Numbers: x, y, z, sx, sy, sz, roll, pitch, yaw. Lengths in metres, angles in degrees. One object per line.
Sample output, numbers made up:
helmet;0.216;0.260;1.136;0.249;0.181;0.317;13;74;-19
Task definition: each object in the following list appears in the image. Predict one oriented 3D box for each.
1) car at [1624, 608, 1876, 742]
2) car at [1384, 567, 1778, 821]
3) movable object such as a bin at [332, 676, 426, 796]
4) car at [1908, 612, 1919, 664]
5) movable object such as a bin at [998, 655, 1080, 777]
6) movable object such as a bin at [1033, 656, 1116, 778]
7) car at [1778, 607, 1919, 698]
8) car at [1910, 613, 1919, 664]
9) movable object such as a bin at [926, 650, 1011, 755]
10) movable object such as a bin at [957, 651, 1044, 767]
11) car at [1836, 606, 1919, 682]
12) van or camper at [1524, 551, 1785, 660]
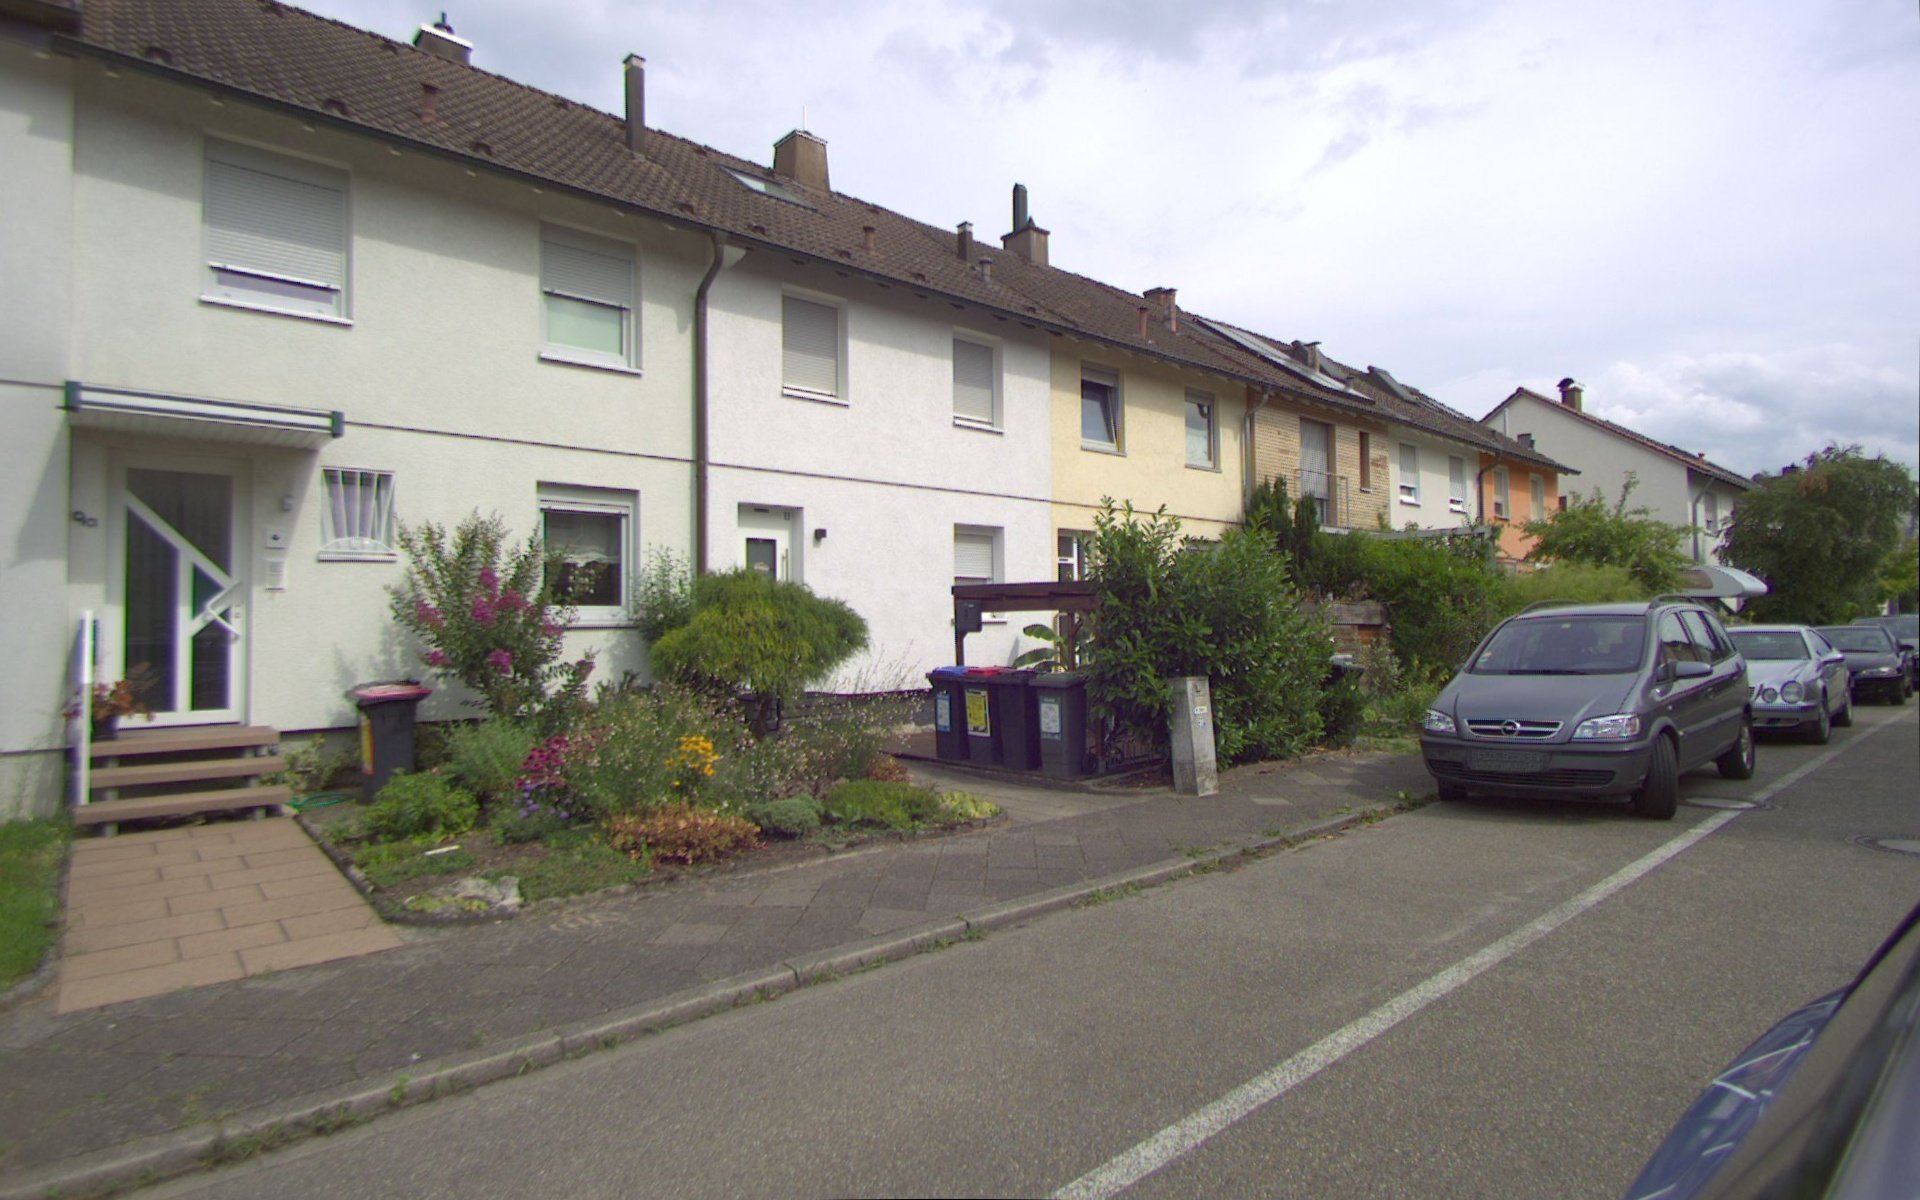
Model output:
car;10.349;0.865;13.117;4.688;1.426;1.868;1;-4;-44
car;5.625;0.659;8.910;4.389;1.675;1.869;1;-2;-44
movable object such as a bin;-4.695;1.070;8.169;0.540;0.861;0.690;1;-2;-40
car;29.481;1.087;29.856;4.142;1.490;1.744;1;-2;-41
movable object such as a bin;0.769;1.093;9.755;0.369;1.080;0.840;-1;-1;39
movable object such as a bin;1.069;1.062;9.401;0.403;1.047;0.779;-2;-2;40
car;16.162;0.873;18.211;4.057;1.446;1.734;1;-2;-44
car;29.410;1.077;29.895;4.150;1.461;1.704;1;-3;-44
movable object such as a bin;0.097;1.032;10.485;0.425;1.000;0.875;-1;-1;41
movable object such as a bin;0.415;1.067;10.134;0.417;1.065;0.874;-1;-1;42
car;20.413;0.892;21.793;4.567;1.486;1.751;1;-2;-42
van or camper;20.112;0.192;29.602;2.490;2.854;5.813;1;-1;-37
